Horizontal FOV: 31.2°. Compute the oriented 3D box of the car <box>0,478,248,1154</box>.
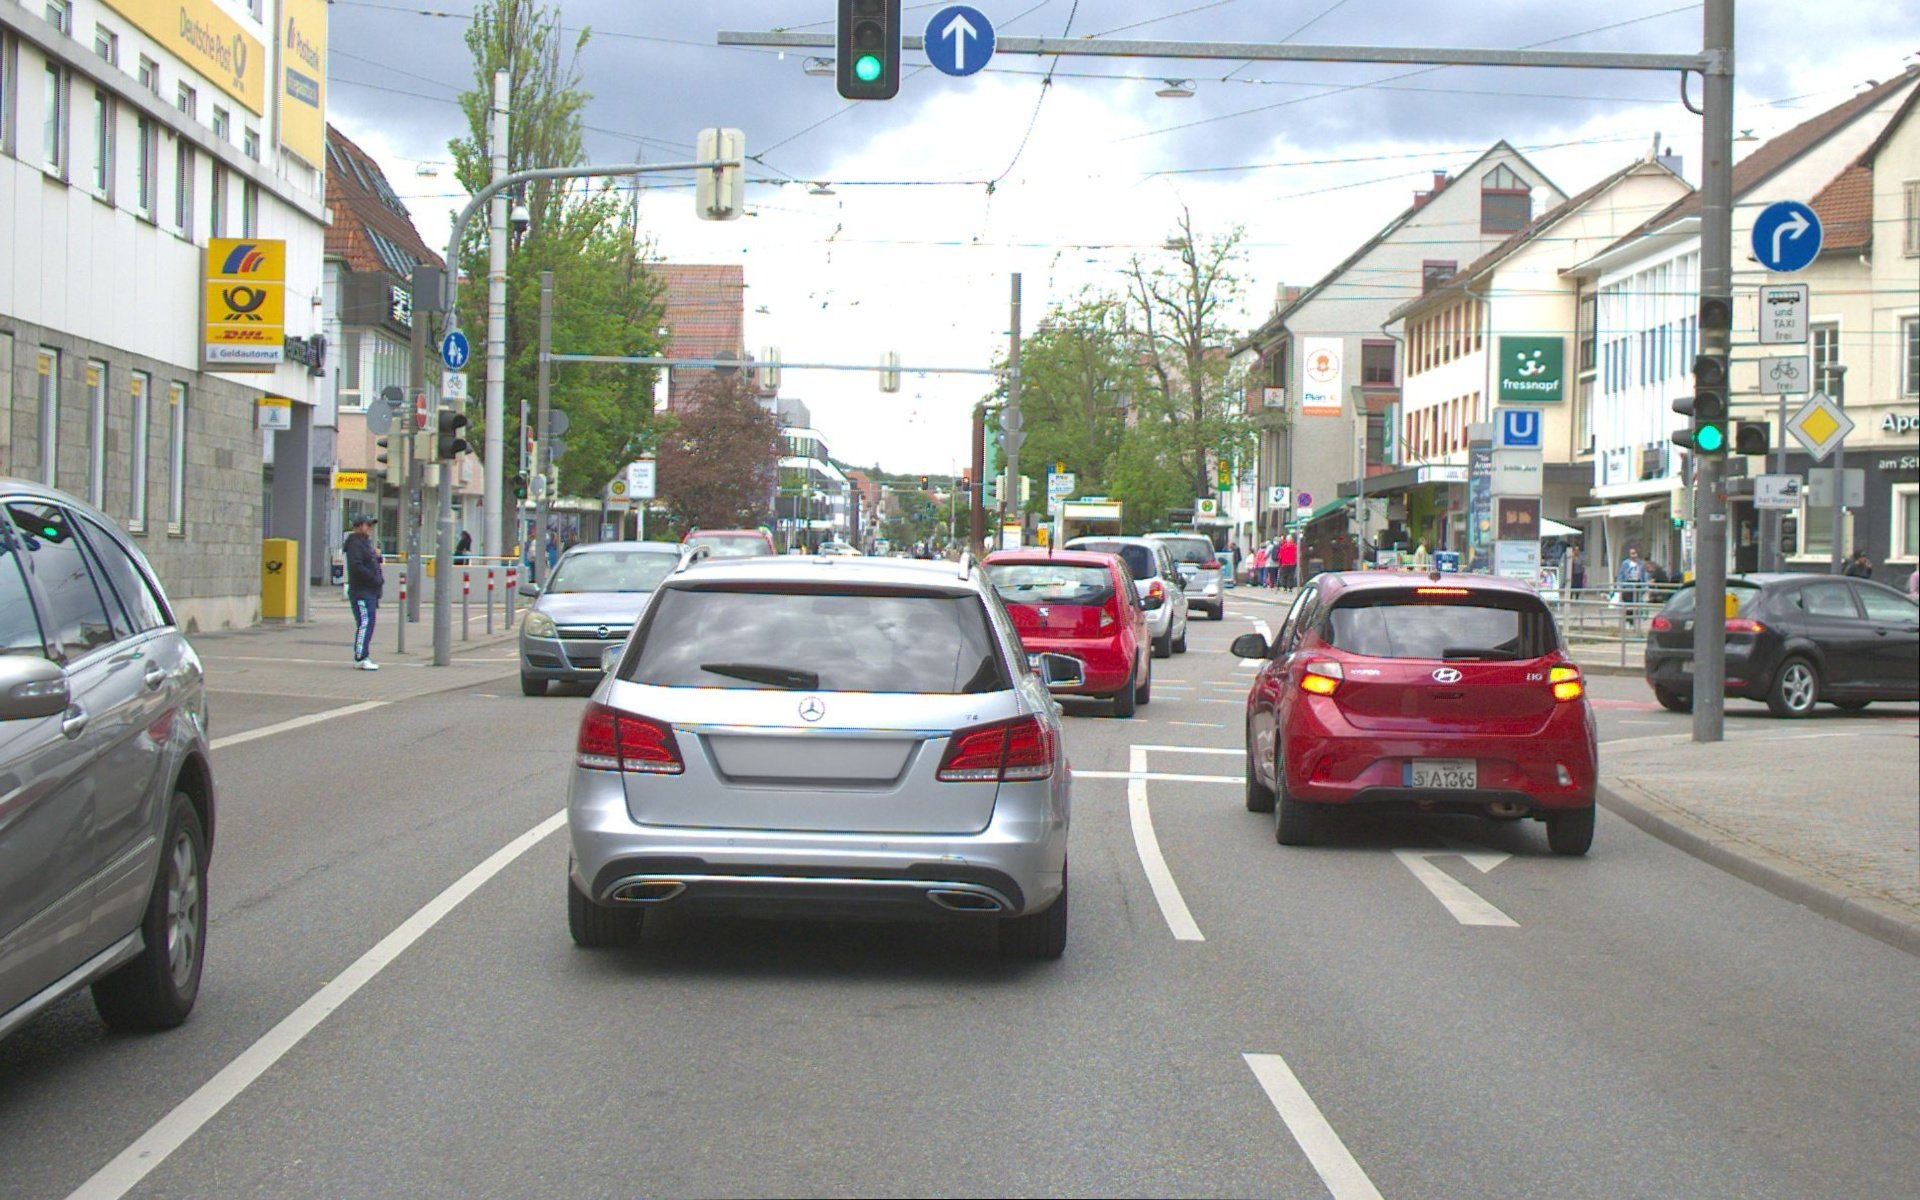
[{"bbox_3d":[-3.197,0.502,8.864,1.776,1.626,4.768,0,1,-1],"label":"car"}]

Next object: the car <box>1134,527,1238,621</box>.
[{"bbox_3d":[4.355,-0.530,66.744,1.734,1.753,4.000,1,1,0],"label":"car"}]

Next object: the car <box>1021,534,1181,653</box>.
[{"bbox_3d":[1.834,-0.122,45.863,1.734,1.503,4.001,1,1,-3],"label":"car"}]

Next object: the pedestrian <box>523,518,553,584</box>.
[{"bbox_3d":[-10.447,-1.213,85.032,0.633,1.600,0.705,1,1,-14],"label":"pedestrian"}]

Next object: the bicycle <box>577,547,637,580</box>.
[{"bbox_3d":[-11.902,-1.240,115.807,1.937,1.025,0.530,2,1,-10],"label":"bicycle"}]

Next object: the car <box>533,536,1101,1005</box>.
[{"bbox_3d":[-0.592,0.537,13.639,1.845,1.503,4.172,2,1,-3],"label":"car"}]

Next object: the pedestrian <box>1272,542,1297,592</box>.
[{"bbox_3d":[9.835,-1.001,104.133,0.578,1.464,0.651,2,1,-8],"label":"pedestrian"}]

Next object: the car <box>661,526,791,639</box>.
[{"bbox_3d":[-3.614,-0.300,53.590,1.799,1.689,3.898,0,1,-1],"label":"car"}]

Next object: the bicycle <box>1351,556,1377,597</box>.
[{"bbox_3d":[11.115,-0.660,94.673,0.448,1.087,2.149,1,1,0],"label":"bicycle"}]

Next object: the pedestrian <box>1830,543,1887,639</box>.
[{"bbox_3d":[16.095,-0.165,61.584,0.702,1.712,0.650,1,1,-20],"label":"pedestrian"}]

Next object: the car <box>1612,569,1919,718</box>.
[{"bbox_3d":[8.688,0.408,35.164,3.988,1.406,1.739,0,2,-38],"label":"car"}]

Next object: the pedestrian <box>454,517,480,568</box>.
[{"bbox_3d":[-15.593,-1.814,108.746,0.702,1.600,0.580,1,1,-22],"label":"pedestrian"}]

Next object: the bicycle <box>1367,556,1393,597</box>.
[{"bbox_3d":[11.564,-0.660,94.677,0.448,1.103,2.149,1,1,0],"label":"bicycle"}]

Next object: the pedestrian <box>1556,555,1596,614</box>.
[{"bbox_3d":[16.848,-0.431,93.981,0.640,1.586,0.898,2,1,-21],"label":"pedestrian"}]

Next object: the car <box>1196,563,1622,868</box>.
[{"bbox_3d":[2.453,0.577,19.736,1.698,1.447,4.001,3,1,-2],"label":"car"}]

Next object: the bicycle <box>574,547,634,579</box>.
[{"bbox_3d":[-12.052,-1.255,116.466,1.937,1.025,0.530,2,1,-10],"label":"bicycle"}]

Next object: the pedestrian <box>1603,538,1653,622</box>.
[{"bbox_3d":[13.839,-0.415,71.232,0.841,1.712,0.727,1,1,-4],"label":"pedestrian"}]

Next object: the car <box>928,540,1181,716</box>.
[{"bbox_3d":[0.945,0.209,32.061,1.735,1.503,3.998,1,1,10],"label":"car"}]

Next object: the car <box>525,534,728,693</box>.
[{"bbox_3d":[-3.236,0.088,33.939,1.657,1.461,3.921,0,1,-1],"label":"car"}]

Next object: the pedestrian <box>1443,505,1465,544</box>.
[{"bbox_3d":[15.846,-2.428,110.315,0.533,1.214,0.580,2,1,-3],"label":"pedestrian"}]

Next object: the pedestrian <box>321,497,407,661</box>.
[{"bbox_3d":[-6.363,-0.228,36.731,0.648,1.712,0.782,3,1,6],"label":"pedestrian"}]

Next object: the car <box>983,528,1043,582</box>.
[{"bbox_3d":[2.037,-1.764,132.929,1.993,2.007,4.001,2,1,-3],"label":"car"}]

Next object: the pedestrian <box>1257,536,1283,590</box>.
[{"bbox_3d":[9.680,-1.150,107.341,0.577,1.661,0.651,2,1,-10],"label":"pedestrian"}]

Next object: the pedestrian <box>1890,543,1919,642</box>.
[{"bbox_3d":[17.024,-0.127,61.076,0.649,1.712,0.787,4,2,37],"label":"pedestrian"}]
